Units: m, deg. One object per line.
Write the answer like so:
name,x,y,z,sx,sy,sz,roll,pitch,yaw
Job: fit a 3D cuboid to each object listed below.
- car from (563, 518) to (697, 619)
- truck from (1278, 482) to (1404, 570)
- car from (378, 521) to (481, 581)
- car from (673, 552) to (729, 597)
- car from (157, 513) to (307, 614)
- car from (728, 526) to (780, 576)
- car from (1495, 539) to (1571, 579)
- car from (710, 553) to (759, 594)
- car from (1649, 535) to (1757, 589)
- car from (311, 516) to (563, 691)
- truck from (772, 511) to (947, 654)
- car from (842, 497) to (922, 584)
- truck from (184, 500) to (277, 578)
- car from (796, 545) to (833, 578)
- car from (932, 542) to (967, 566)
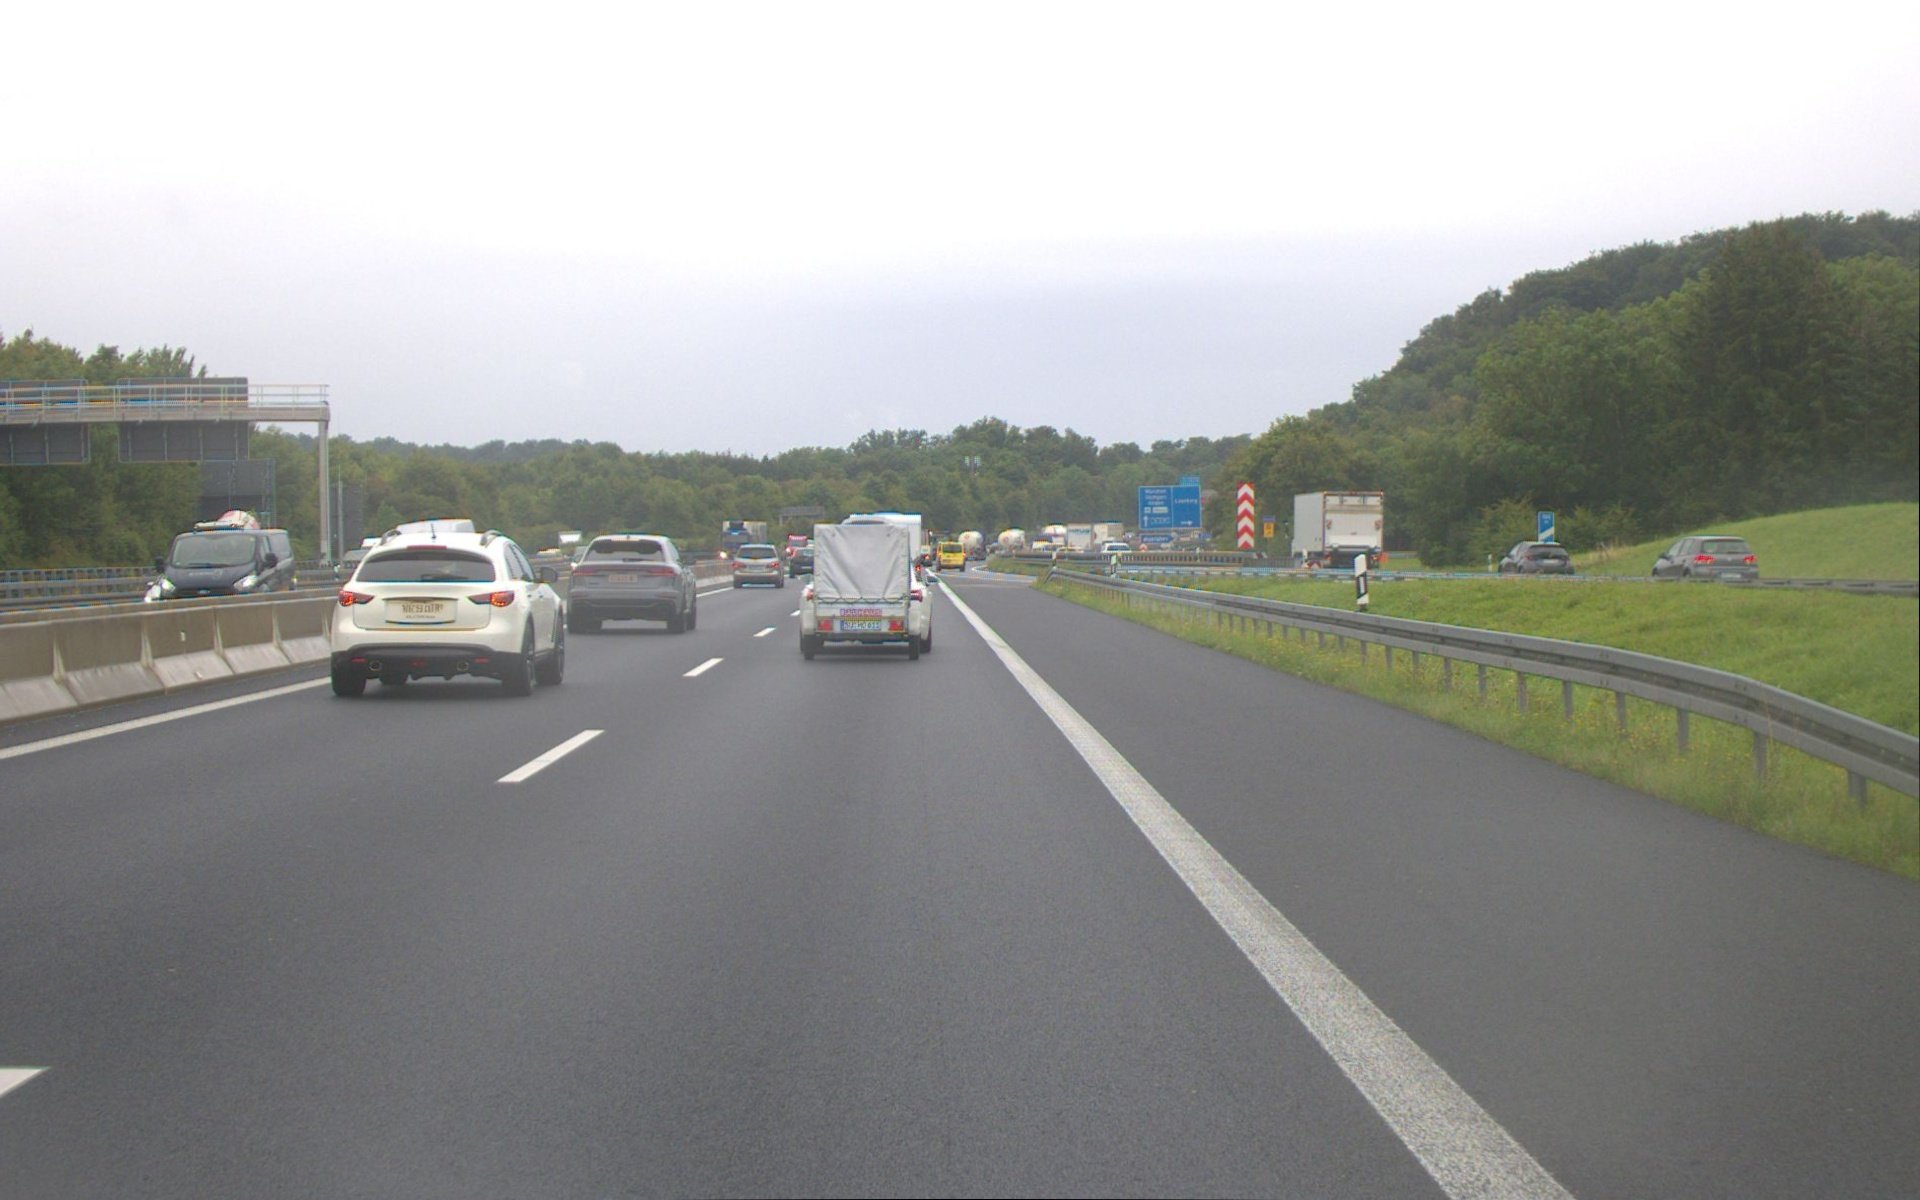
car,-5.768,-0.577,60.603,1.975,1.697,4.803,1,1,-1
truck,16.413,-3.175,148.730,3.824,3.646,8.273,1,1,-5
car,-15.517,-1.436,100.762,2.357,1.687,5.907,-1,1,-3
car,-9.699,-0.965,128.922,1.819,1.656,4.017,0,1,0
car,-13.807,-0.716,65.448,1.993,1.830,4.680,1,1,-2
car,-7.526,-1.793,126.049,1.738,1.787,4.000,1,1,-1
car,19.356,-1.388,116.226,1.697,1.284,3.535,1,1,-4
car,-9.396,-1.125,143.320,1.819,1.656,4.017,0,1,0
car,18.372,-0.936,85.135,1.539,1.284,3.536,1,1,-7
car,-5.294,-0.010,35.340,2.048,1.665,4.541,1,1,-2
truck,-1.394,-0.290,47.685,2.242,1.833,6.585,0,1,-2
car,-2.584,-1.916,111.660,2.331,2.716,6.541,0,1,-4
truck,-35.203,-2.937,166.248,2.685,3.648,9.559,-1,1,-2
car,-7.098,-1.879,167.437,1.645,1.568,4.000,1,1,-1
car,-0.706,-3.150,235.092,1.993,1.546,4.001,1,1,-6
